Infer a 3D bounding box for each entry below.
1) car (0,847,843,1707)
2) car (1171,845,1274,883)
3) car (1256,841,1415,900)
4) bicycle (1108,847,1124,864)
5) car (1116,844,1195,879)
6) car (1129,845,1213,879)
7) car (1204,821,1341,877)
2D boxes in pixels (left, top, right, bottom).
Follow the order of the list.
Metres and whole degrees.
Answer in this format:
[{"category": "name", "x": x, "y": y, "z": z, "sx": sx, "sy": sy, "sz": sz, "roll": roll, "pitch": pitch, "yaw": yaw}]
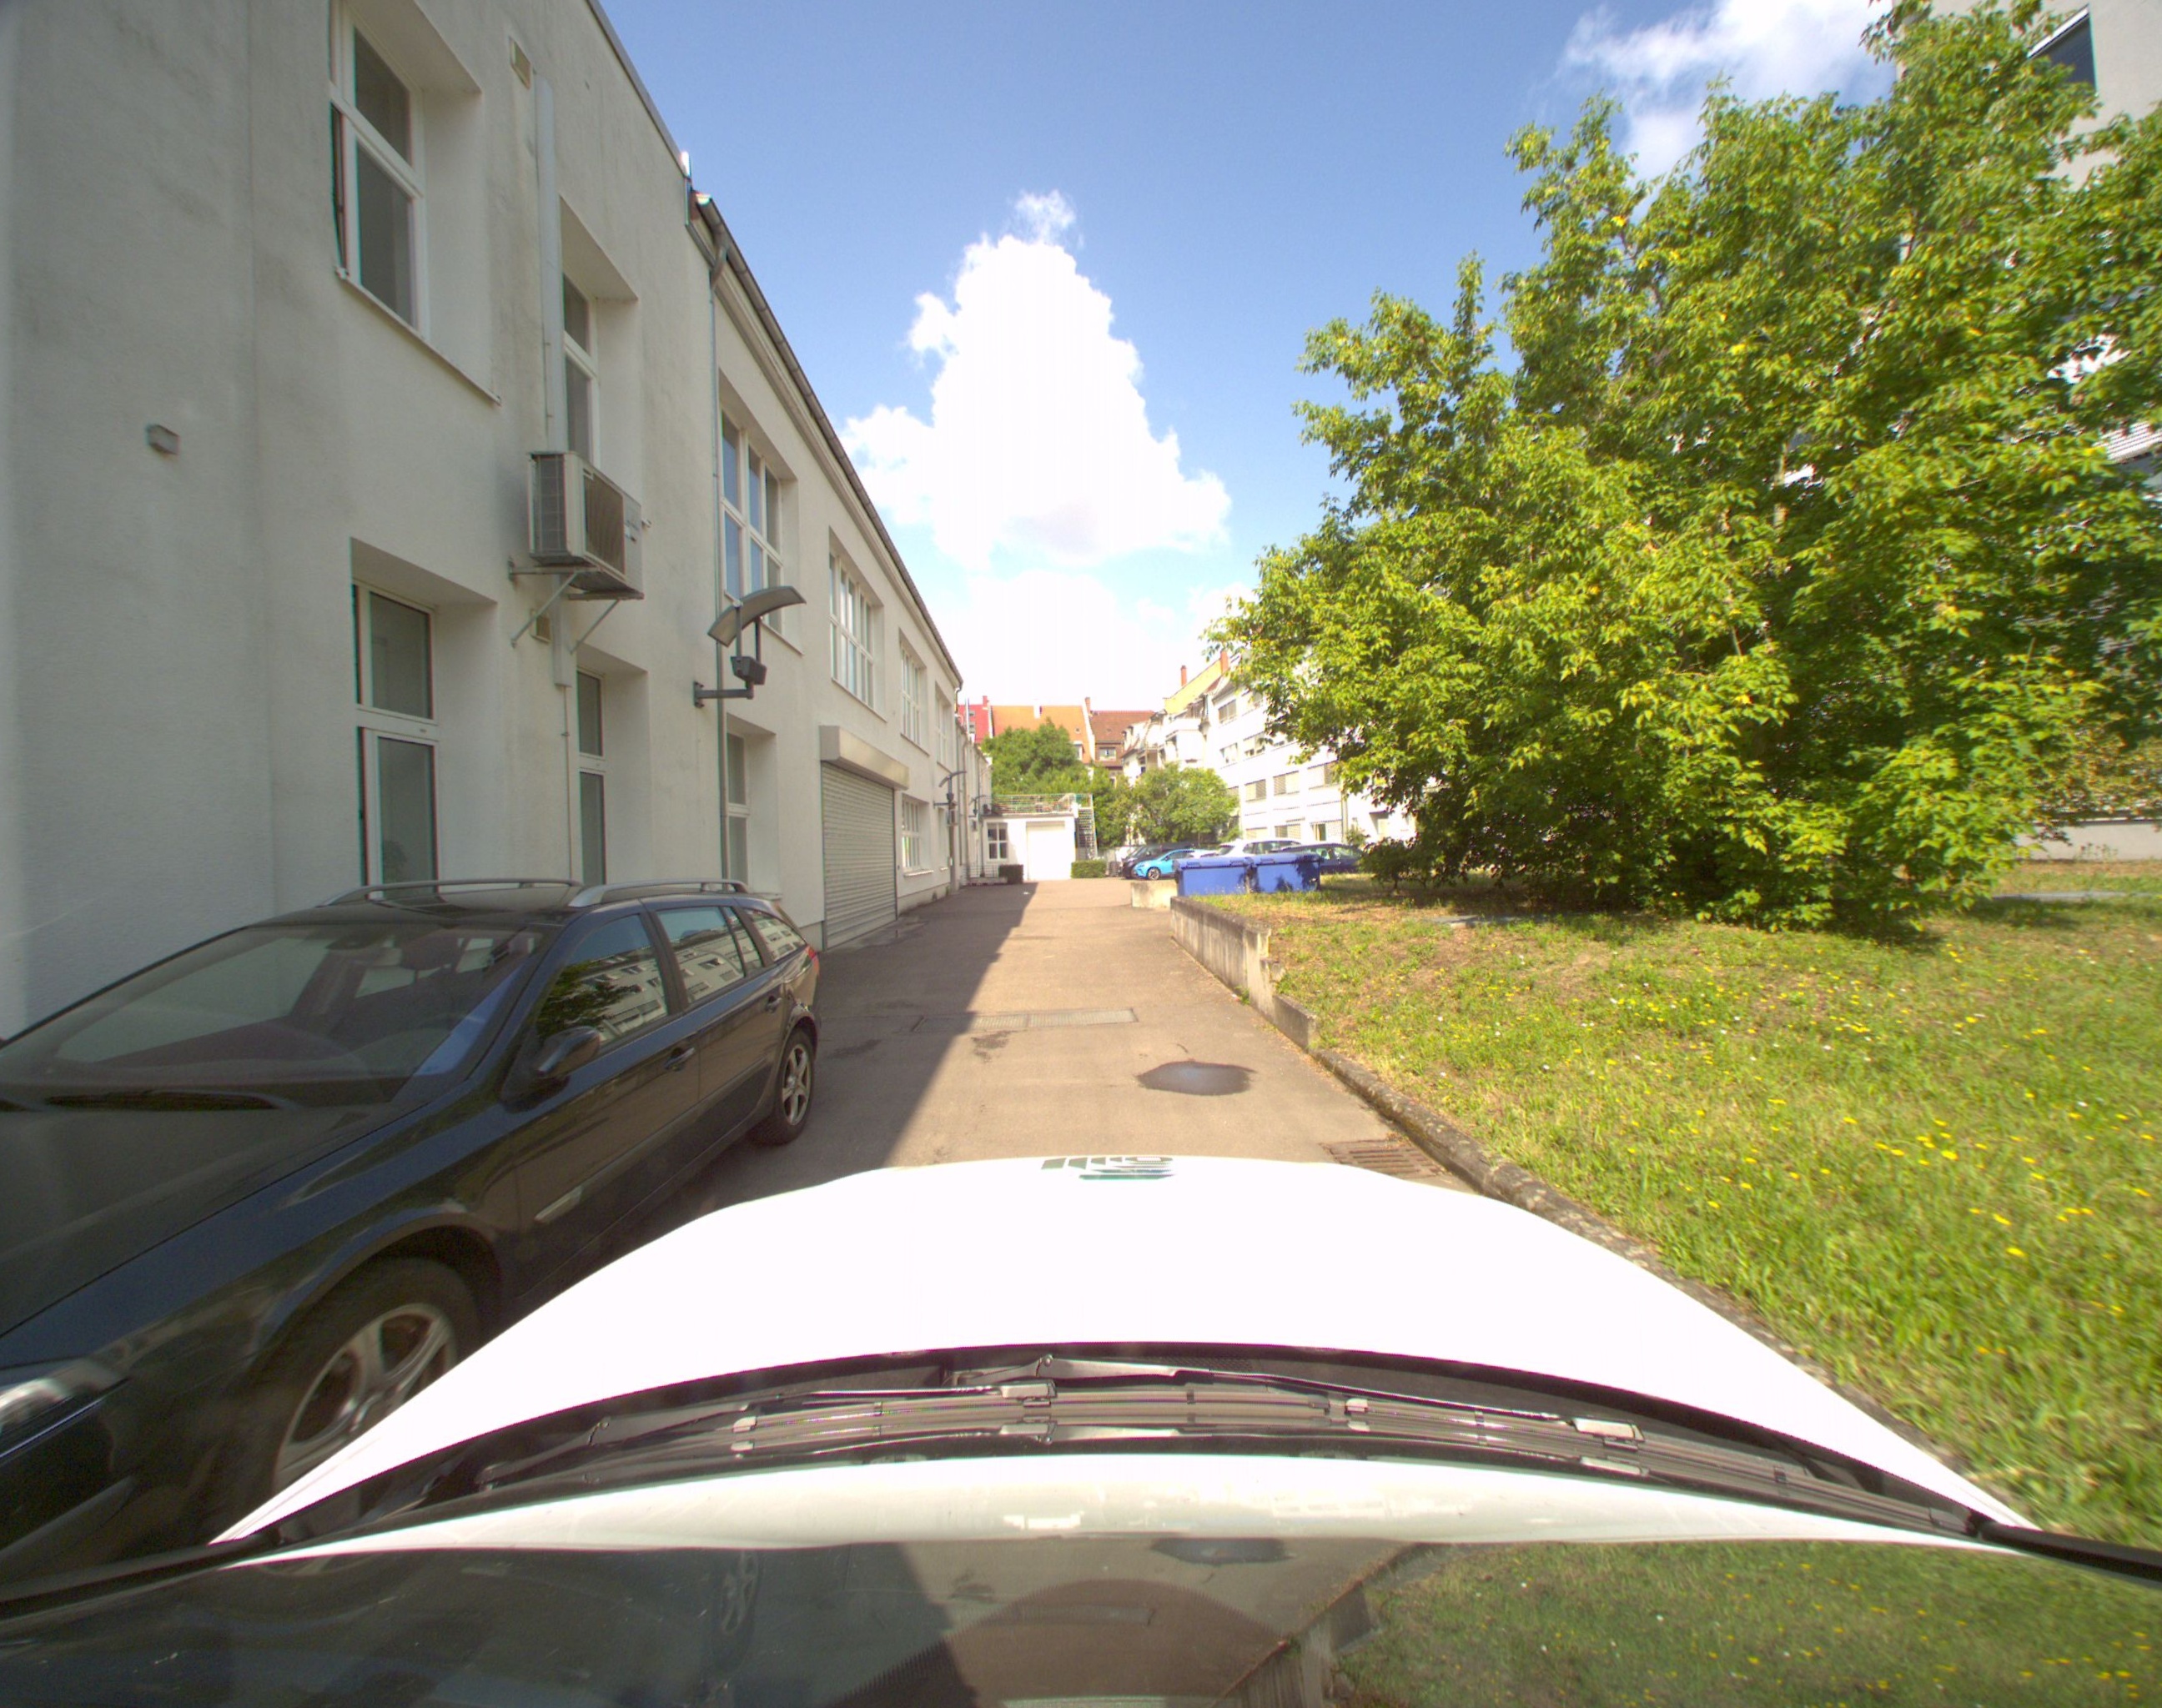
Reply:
[{"category": "car", "x": -2.446, "y": 0.789, "z": 3.168, "sx": 1.874, "sy": 1.442, "sz": 4.336, "roll": 1, "pitch": -2, "yaw": -2}, {"category": "car", "x": 5.968, "y": 0.405, "z": 34.555, "sx": 3.984, "sy": 1.444, "sz": 1.625, "roll": -2, "pitch": 2, "yaw": -8}, {"category": "car", "x": 7.443, "y": 0.485, "z": 23.977, "sx": 4.110, "sy": 1.606, "sz": 1.750, "roll": 1, "pitch": 0, "yaw": -8}, {"category": "bicycle", "x": 2.334, "y": 0.077, "z": 54.256, "sx": 0.641, "sy": 1.117, "sz": 1.851, "roll": 1, "pitch": 0, "yaw": -11}, {"category": "car", "x": 4.039, "y": 0.410, "z": 44.518, "sx": 3.984, "sy": 1.817, "sz": 1.659, "roll": 1, "pitch": 0, "yaw": -8}, {"category": "car", "x": 4.587, "y": 0.402, "z": 41.808, "sx": 3.984, "sy": 1.573, "sz": 1.625, "roll": -1, "pitch": 2, "yaw": -8}, {"category": "car", "x": 6.254, "y": -0.185, "z": 26.891, "sx": 3.984, "sy": 1.745, "sz": 1.944, "roll": -1, "pitch": 1, "yaw": -8}]
